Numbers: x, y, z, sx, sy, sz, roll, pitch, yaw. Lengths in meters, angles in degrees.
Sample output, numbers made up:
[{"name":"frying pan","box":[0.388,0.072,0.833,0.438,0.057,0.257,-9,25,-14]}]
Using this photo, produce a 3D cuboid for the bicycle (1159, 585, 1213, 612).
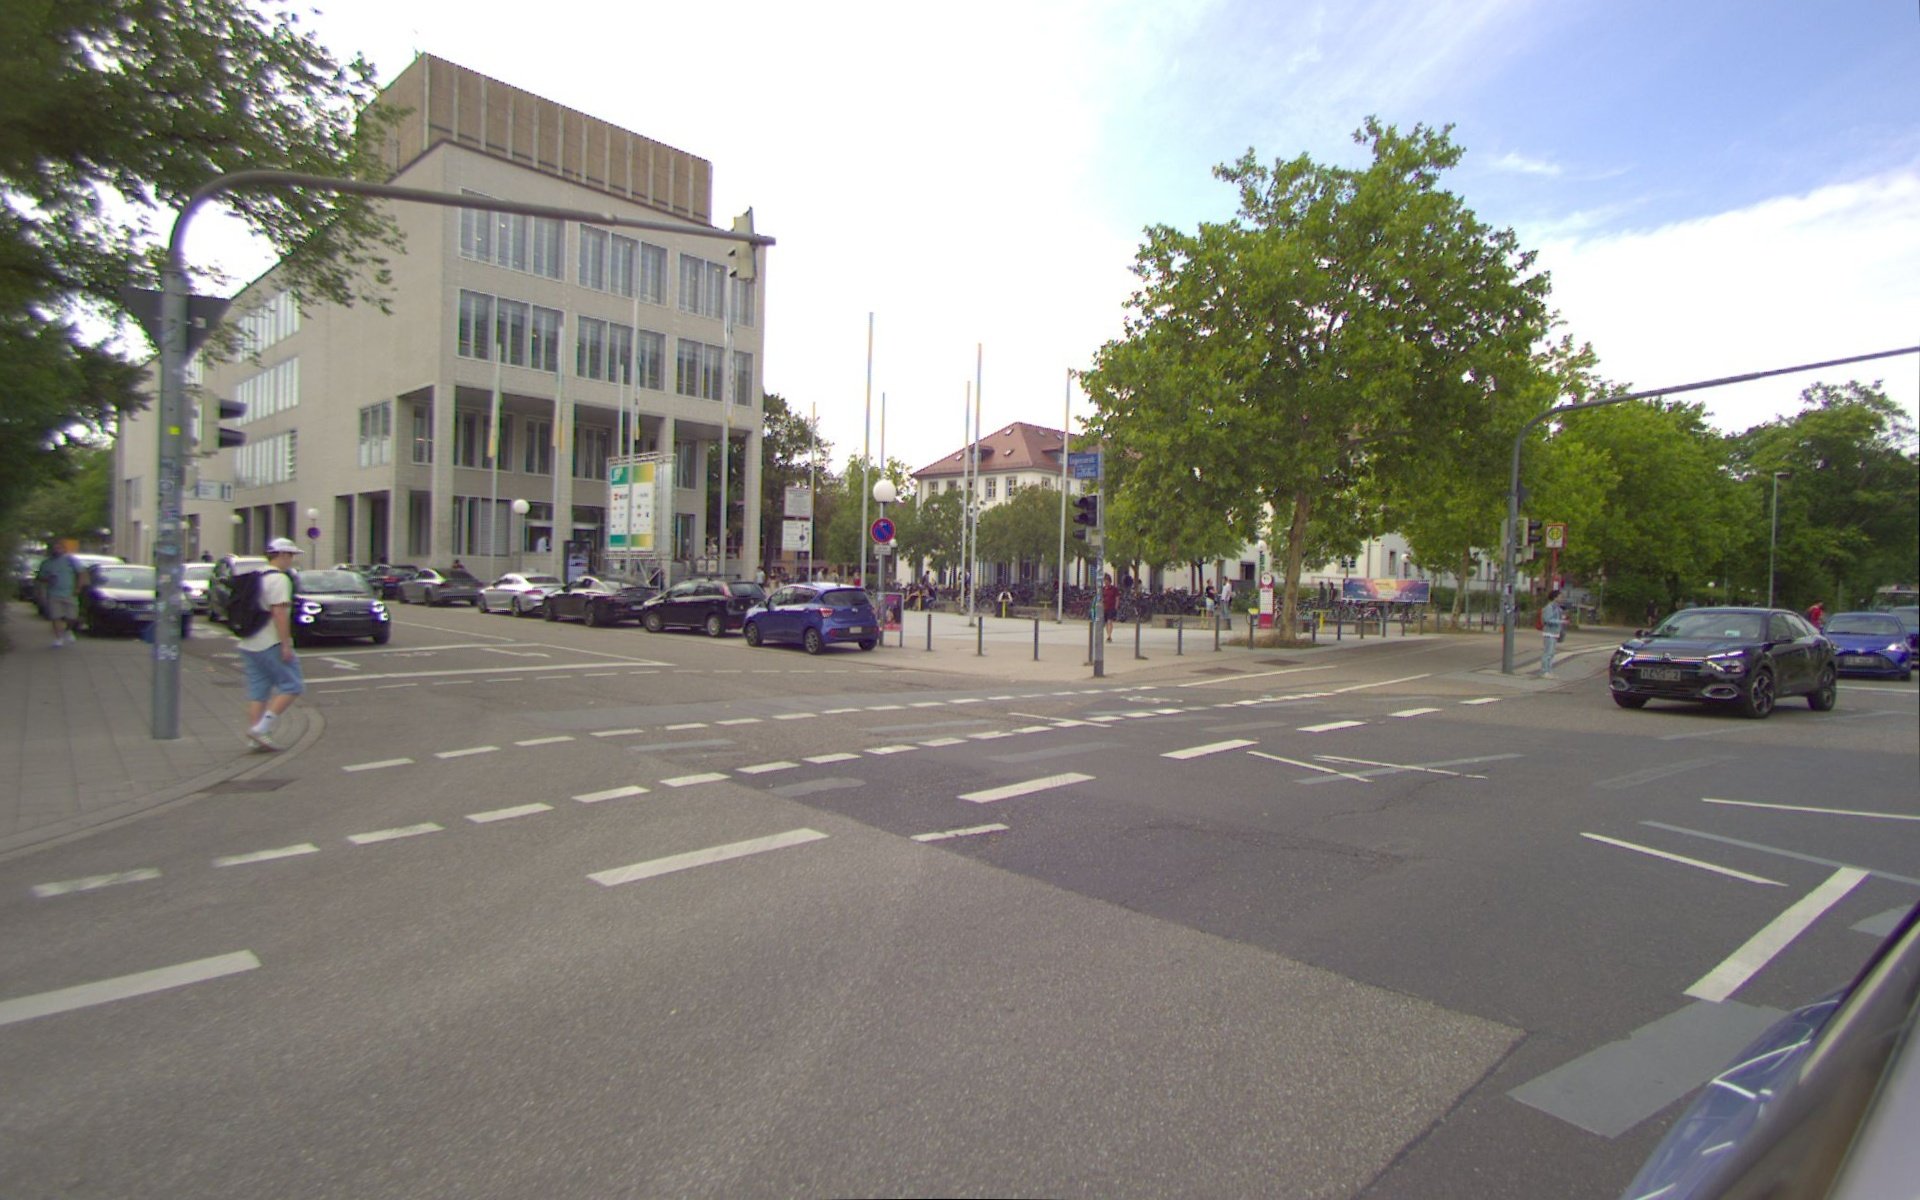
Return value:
[{"name":"bicycle","box":[10.391,-0.090,46.584,0.706,1.156,2.468,0,1,-44]}]

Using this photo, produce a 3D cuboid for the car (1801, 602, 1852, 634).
[{"name":"car","box":[41.669,0.834,48.635,1.699,1.386,3.772,2,1,43]}]

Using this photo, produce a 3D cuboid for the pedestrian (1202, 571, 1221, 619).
[{"name":"pedestrian","box":[10.408,-0.202,41.906,0.674,1.988,0.602,0,0,5]}]

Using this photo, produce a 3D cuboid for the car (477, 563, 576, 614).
[{"name":"car","box":[-14.297,-0.413,33.298,3.821,1.586,1.648,2,2,44]}]

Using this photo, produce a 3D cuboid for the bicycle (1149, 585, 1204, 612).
[{"name":"bicycle","box":[9.844,-0.085,46.022,0.706,1.156,2.468,0,1,-44]}]

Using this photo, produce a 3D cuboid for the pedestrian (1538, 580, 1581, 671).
[{"name":"pedestrian","box":[12.444,0.513,20.990,0.670,1.839,0.574,1,1,-43]}]

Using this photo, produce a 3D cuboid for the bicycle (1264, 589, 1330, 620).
[{"name":"bicycle","box":[13.599,0.174,40.868,0.706,1.156,2.468,0,1,-44]}]

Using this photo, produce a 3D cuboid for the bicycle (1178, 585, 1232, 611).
[{"name":"bicycle","box":[11.522,-0.097,47.729,0.706,1.156,2.468,0,1,-44]}]

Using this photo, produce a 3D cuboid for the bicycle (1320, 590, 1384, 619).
[{"name":"bicycle","box":[16.638,0.170,43.005,0.706,1.156,2.468,0,1,-44]}]

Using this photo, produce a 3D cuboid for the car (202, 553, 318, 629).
[{"name":"car","box":[-17.458,-0.275,25.157,1.657,1.713,4.284,-1,2,-45]}]

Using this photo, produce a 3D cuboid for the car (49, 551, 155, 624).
[{"name":"car","box":[-20.898,-0.324,24.610,3.887,1.624,1.545,2,0,44]}]

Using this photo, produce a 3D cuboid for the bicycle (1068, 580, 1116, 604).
[{"name":"bicycle","box":[6.517,-0.396,50.023,0.706,1.156,2.468,0,1,-44]}]

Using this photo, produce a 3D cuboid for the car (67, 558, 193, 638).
[{"name":"car","box":[-17.650,-0.078,21.466,4.094,1.497,1.523,2,-2,44]}]

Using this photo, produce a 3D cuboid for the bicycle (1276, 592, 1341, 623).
[{"name":"bicycle","box":[14.299,0.298,41.569,0.706,1.156,2.468,0,1,-44]}]

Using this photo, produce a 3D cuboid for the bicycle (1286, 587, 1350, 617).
[{"name":"bicycle","box":[14.899,0.059,42.160,0.706,1.156,2.468,0,1,-44]}]

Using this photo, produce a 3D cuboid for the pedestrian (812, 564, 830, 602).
[{"name":"pedestrian","box":[-6.937,-0.838,50.488,0.721,1.867,0.596,0,0,30]}]

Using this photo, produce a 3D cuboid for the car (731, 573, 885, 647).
[{"name":"car","box":[-3.493,0.165,22.970,3.572,1.510,1.648,2,2,44]}]

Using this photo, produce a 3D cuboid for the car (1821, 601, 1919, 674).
[{"name":"car","box":[21.305,0.813,23.585,1.699,1.512,3.772,2,1,43]}]

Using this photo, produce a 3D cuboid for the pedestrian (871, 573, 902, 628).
[{"name":"pedestrian","box":[-2.354,-0.001,32.461,0.687,1.730,0.956,0,0,-27]}]

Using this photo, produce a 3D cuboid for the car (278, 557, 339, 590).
[{"name":"car","box":[-32.468,-1.346,50.376,3.977,1.586,1.726,2,2,44]}]

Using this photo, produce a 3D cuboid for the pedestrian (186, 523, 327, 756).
[{"name":"pedestrian","box":[-6.036,0.313,8.701,0.642,1.876,0.819,0,0,33]}]

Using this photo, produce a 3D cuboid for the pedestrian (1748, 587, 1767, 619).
[{"name":"pedestrian","box":[49.070,0.167,62.275,0.796,1.958,0.748,2,1,43]}]

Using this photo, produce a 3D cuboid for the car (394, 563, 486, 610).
[{"name":"car","box":[-19.824,-0.535,38.521,4.216,1.587,1.786,2,-2,44]}]

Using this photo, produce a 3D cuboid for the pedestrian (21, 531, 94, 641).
[{"name":"pedestrian","box":[-15.793,-0.258,17.714,0.794,1.874,0.725,1,1,28]}]

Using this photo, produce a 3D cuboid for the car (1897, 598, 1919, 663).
[{"name":"car","box":[26.521,0.803,27.132,1.900,1.669,4.570,2,1,45]}]

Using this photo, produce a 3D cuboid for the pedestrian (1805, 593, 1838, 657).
[{"name":"pedestrian","box":[25.917,0.739,30.441,0.725,1.876,1.048,2,1,42]}]

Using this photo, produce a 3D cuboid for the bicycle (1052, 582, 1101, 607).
[{"name":"bicycle","box":[5.615,-0.270,49.084,0.706,1.156,2.468,0,1,-44]}]

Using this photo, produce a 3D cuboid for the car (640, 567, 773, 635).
[{"name":"car","box":[-6.648,-0.044,26.396,3.684,1.586,1.649,2,4,44]}]

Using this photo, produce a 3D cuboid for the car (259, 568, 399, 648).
[{"name":"car","box":[-12.834,0.088,20.502,1.657,1.460,3.573,-1,2,-45]}]

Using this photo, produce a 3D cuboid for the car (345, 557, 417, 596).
[{"name":"car","box":[-24.648,-1.034,43.016,3.977,1.586,1.648,2,2,44]}]

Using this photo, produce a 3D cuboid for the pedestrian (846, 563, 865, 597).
[{"name":"pedestrian","box":[-5.107,-0.971,49.458,0.722,1.617,0.596,0,0,32]}]

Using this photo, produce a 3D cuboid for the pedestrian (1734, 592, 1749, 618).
[{"name":"pedestrian","box":[48.496,0.336,62.797,0.644,1.585,0.792,2,1,42]}]

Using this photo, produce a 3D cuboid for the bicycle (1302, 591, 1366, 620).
[{"name":"bicycle","box":[15.712,0.216,42.587,0.706,1.156,2.468,0,1,-44]}]

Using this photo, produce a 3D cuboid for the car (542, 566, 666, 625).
[{"name":"car","box":[-10.468,-0.190,29.615,4.439,1.586,1.648,2,2,44]}]

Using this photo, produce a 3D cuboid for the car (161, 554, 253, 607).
[{"name":"car","box":[-22.149,-0.601,29.705,1.657,1.460,3.774,-1,2,-45]}]

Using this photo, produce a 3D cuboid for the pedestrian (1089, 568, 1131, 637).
[{"name":"pedestrian","box":[4.069,0.067,27.434,0.876,1.827,0.768,0,0,-41]}]

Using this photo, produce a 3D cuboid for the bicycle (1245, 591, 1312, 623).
[{"name":"bicycle","box":[12.544,0.266,39.958,0.706,1.156,2.468,0,1,-44]}]

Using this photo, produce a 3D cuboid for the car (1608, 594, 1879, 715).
[{"name":"car","box":[11.626,0.724,14.970,4.093,1.576,1.806,0,-1,-32]}]

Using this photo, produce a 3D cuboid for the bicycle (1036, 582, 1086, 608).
[{"name":"bicycle","box":[4.792,-0.262,48.241,0.706,1.156,2.468,0,1,-44]}]

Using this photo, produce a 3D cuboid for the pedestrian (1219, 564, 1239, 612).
[{"name":"pedestrian","box":[11.125,-0.499,41.844,0.674,1.988,0.602,0,0,5]}]

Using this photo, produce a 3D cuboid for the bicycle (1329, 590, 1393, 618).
[{"name":"bicycle","box":[17.226,0.163,43.560,0.706,1.156,2.468,0,1,-44]}]

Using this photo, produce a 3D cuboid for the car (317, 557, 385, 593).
[{"name":"car","box":[-27.890,-1.161,46.329,3.977,1.586,1.726,2,2,44]}]

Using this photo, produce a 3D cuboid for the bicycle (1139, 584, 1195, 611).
[{"name":"bicycle","box":[9.269,-0.117,45.440,0.706,1.156,2.468,0,1,-44]}]
